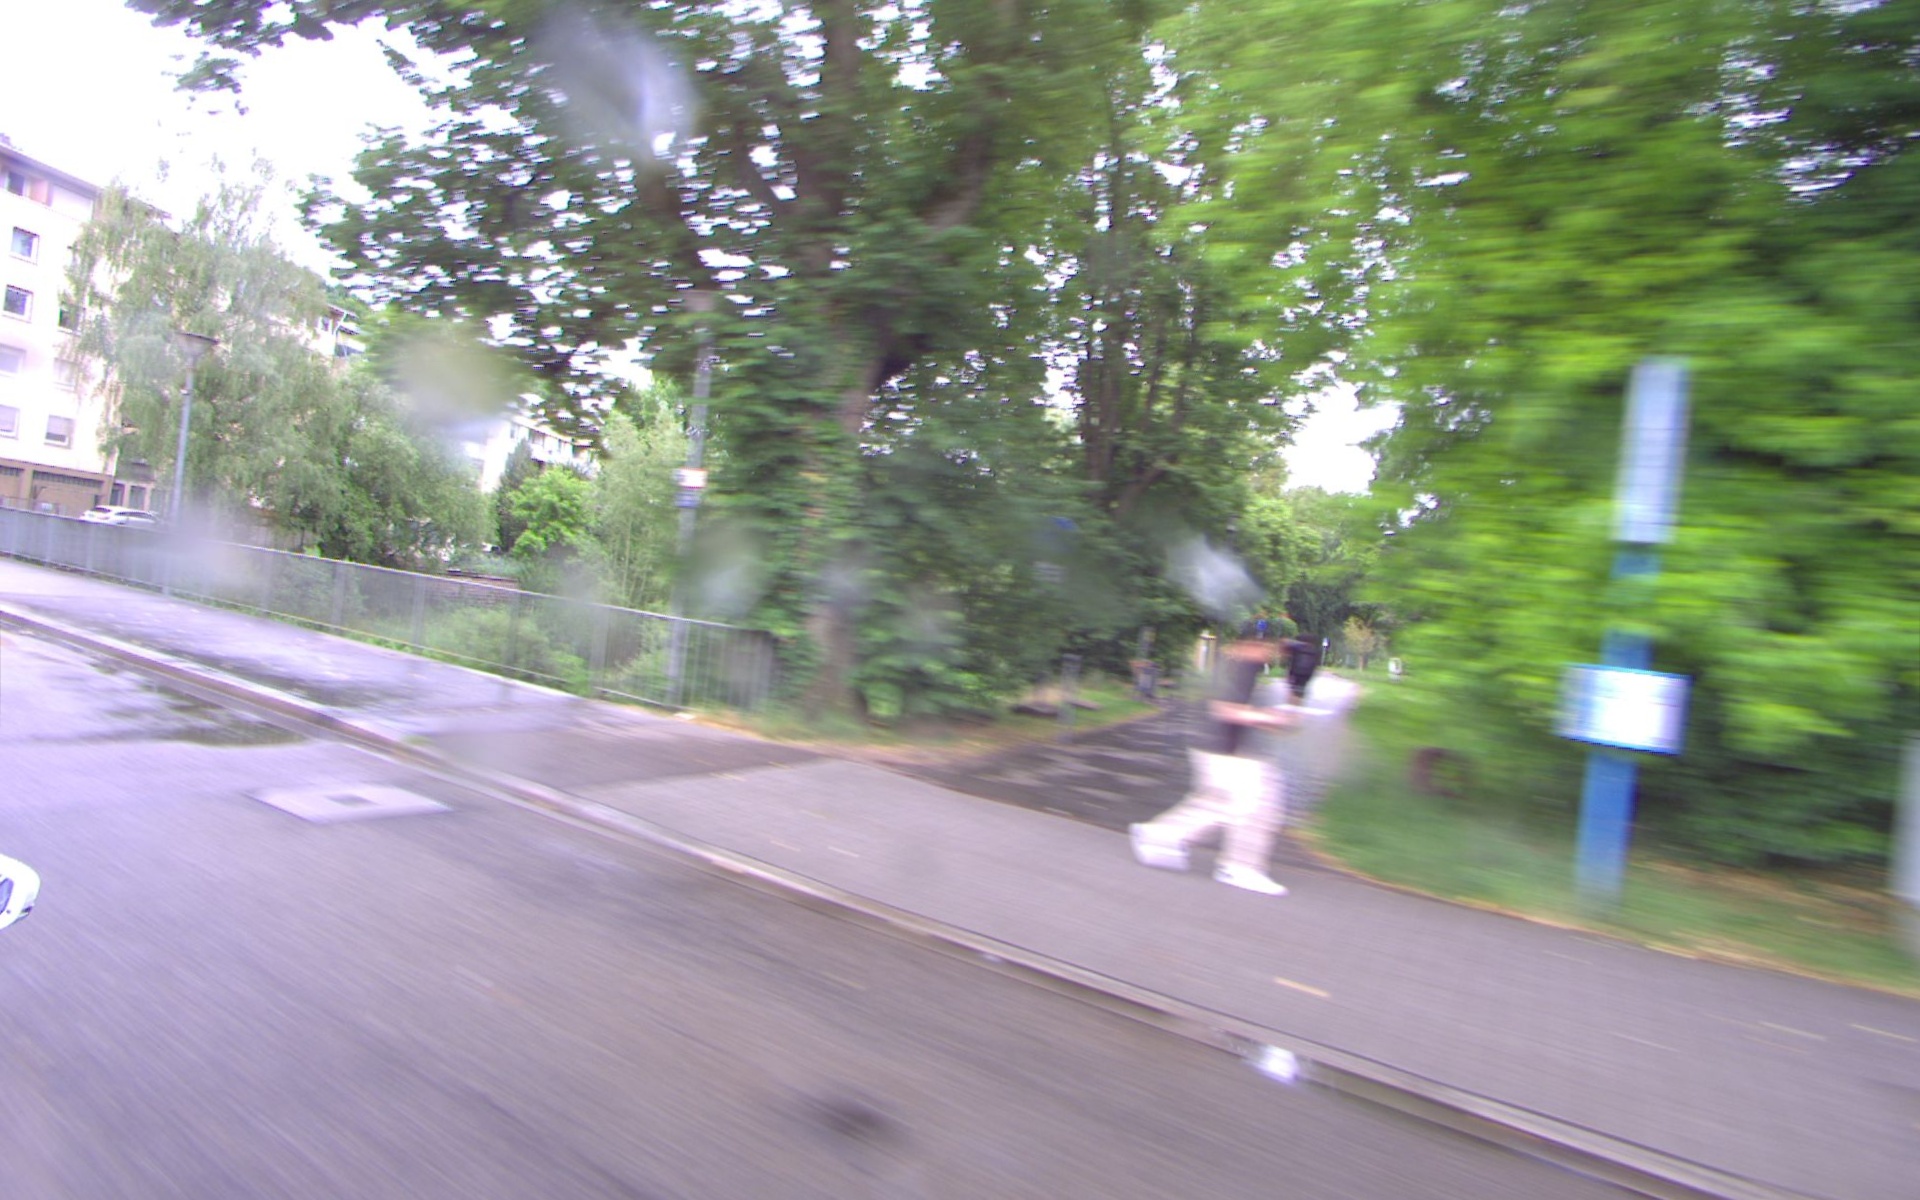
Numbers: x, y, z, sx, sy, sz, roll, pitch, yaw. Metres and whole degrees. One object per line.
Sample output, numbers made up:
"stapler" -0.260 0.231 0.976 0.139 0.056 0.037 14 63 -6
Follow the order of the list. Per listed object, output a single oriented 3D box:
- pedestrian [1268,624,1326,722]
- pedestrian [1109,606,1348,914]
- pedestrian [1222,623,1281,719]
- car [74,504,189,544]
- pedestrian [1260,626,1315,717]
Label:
"pedestrian" 6.597 1.421 19.676 0.768 1.774 1.059 7 0 26
"pedestrian" 1.745 0.954 6.514 1.148 1.698 0.848 7 2 31
"pedestrian" 5.810 1.405 20.040 0.768 1.774 1.059 7 0 26
"car" -44.115 -4.035 53.697 1.782 1.393 4.455 9 0 15
"pedestrian" 6.862 1.489 21.038 0.768 1.774 1.059 7 0 26
